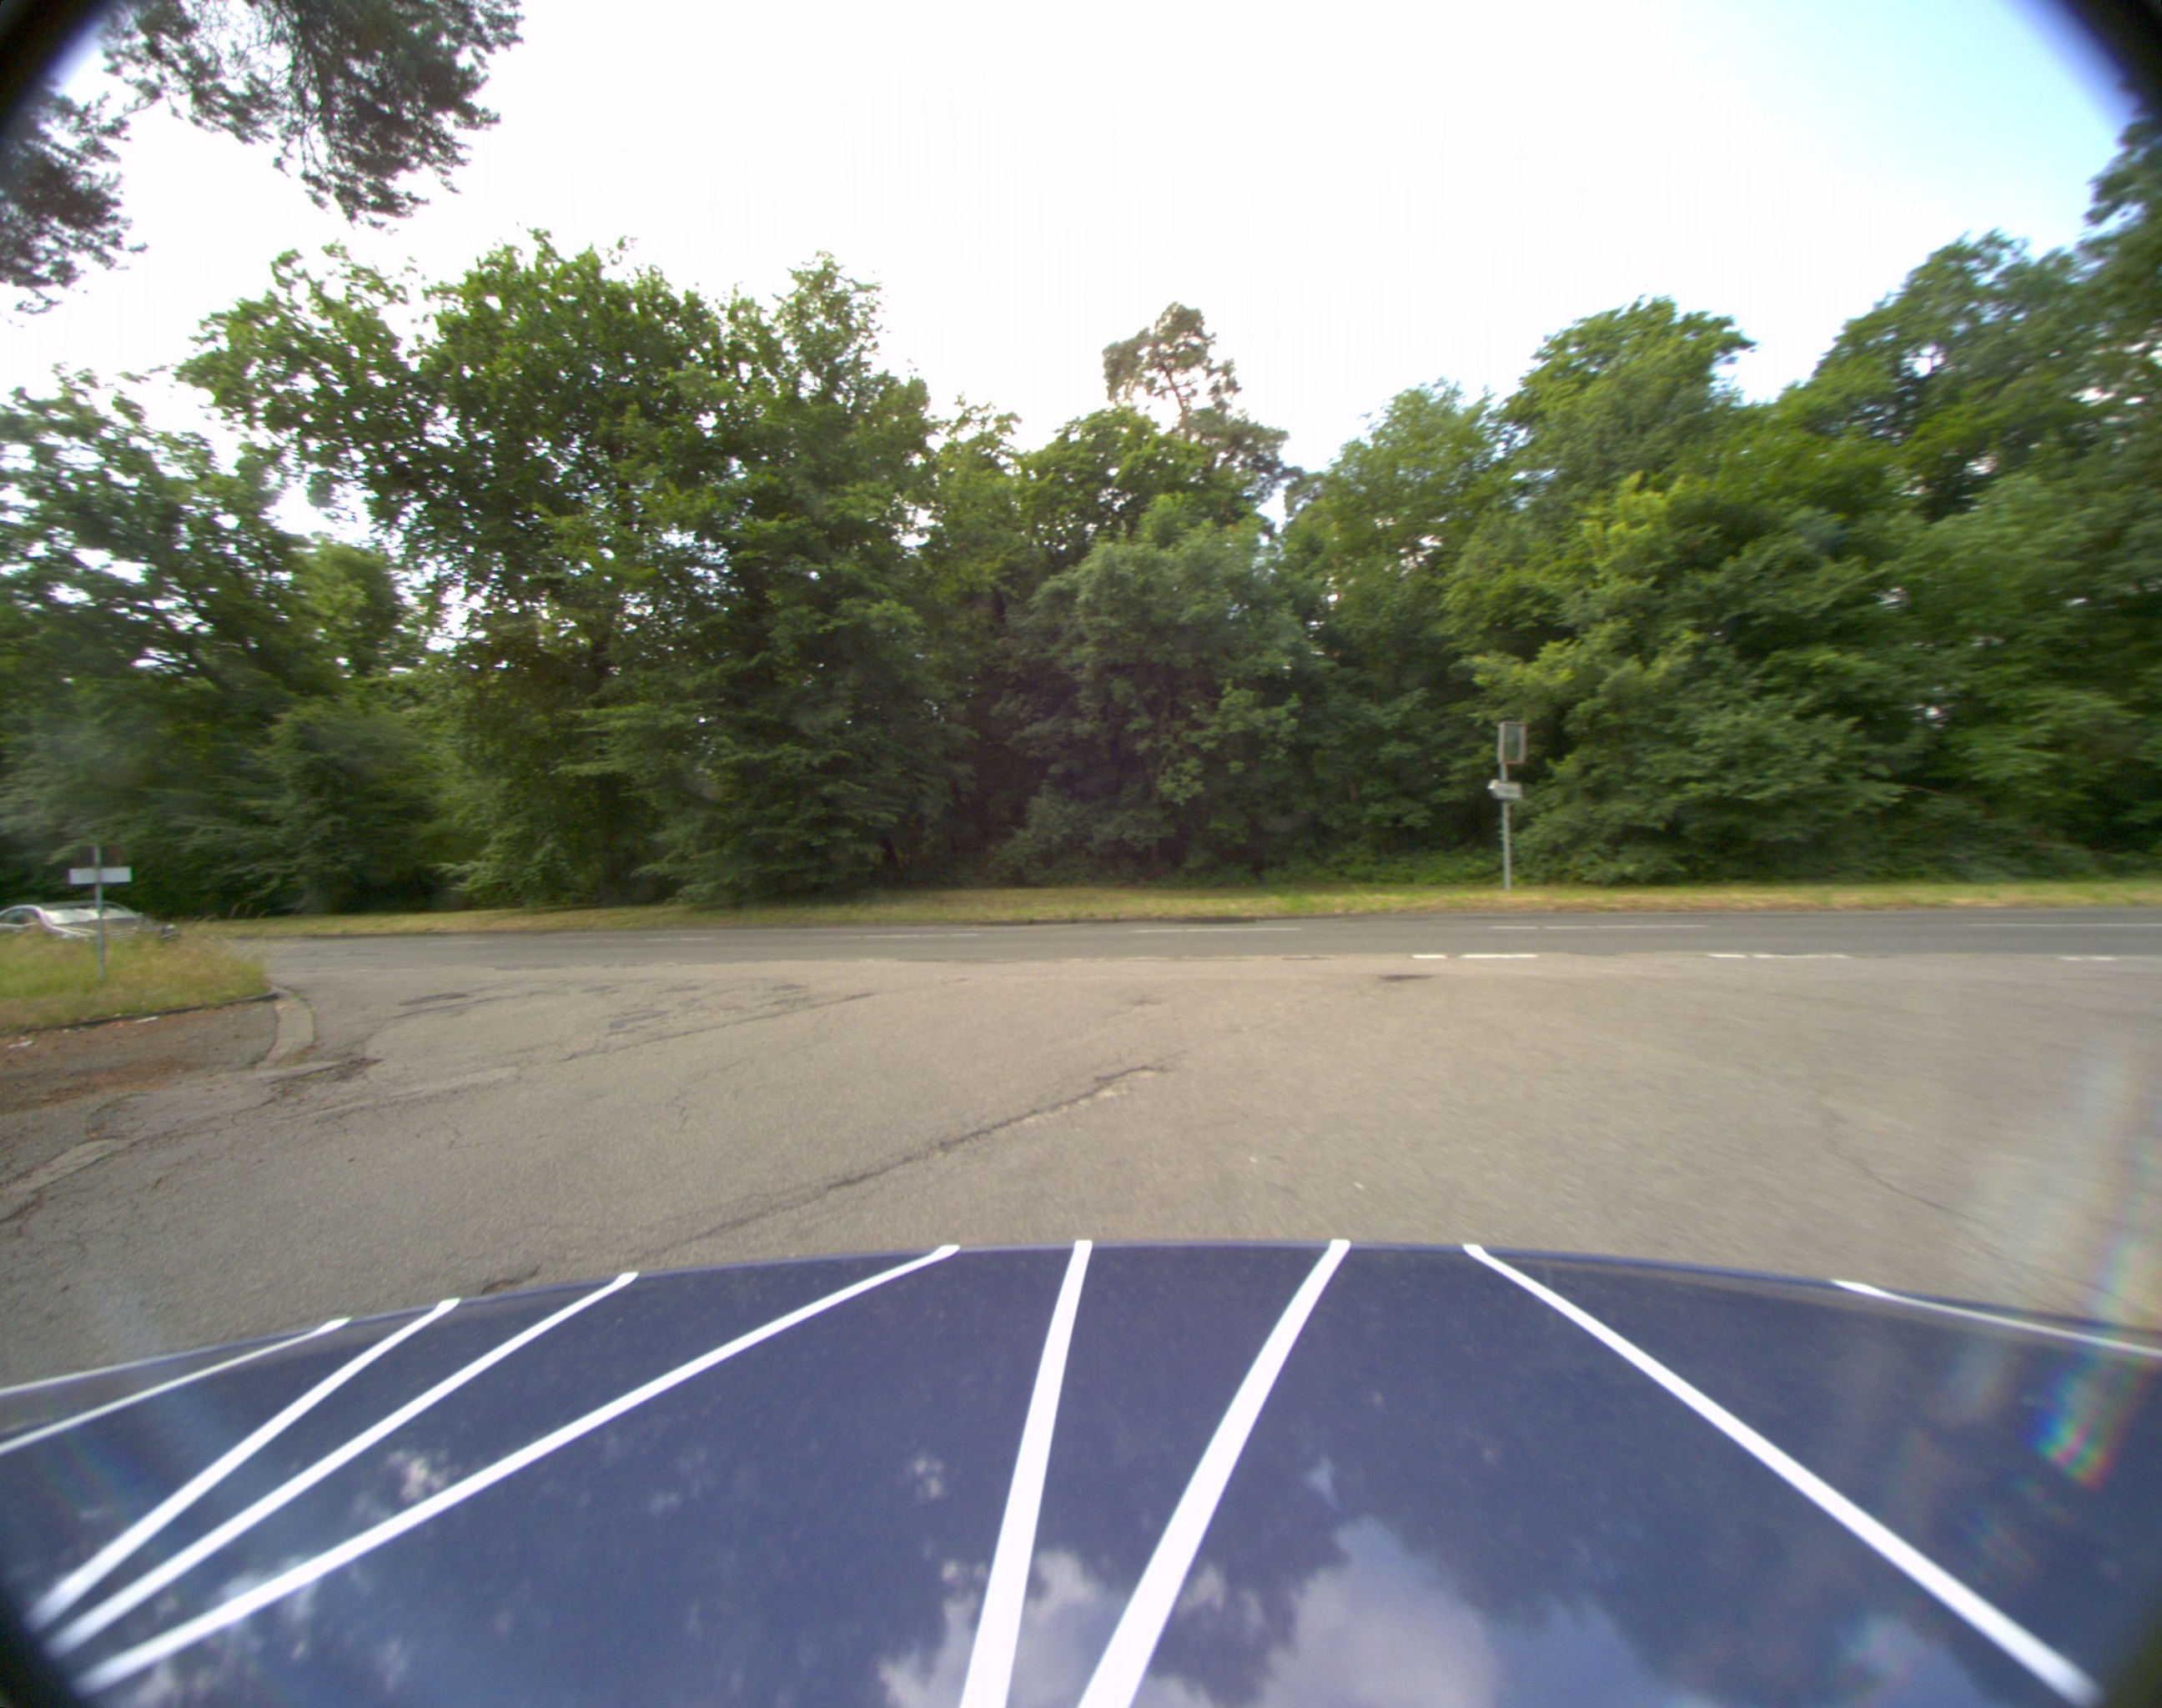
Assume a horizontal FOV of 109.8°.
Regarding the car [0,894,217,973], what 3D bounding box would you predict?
[{"bbox_3d":[-24.148,1.936,18.542,4.522,1.456,1.968,-4,2,12],"label":"car"}]
